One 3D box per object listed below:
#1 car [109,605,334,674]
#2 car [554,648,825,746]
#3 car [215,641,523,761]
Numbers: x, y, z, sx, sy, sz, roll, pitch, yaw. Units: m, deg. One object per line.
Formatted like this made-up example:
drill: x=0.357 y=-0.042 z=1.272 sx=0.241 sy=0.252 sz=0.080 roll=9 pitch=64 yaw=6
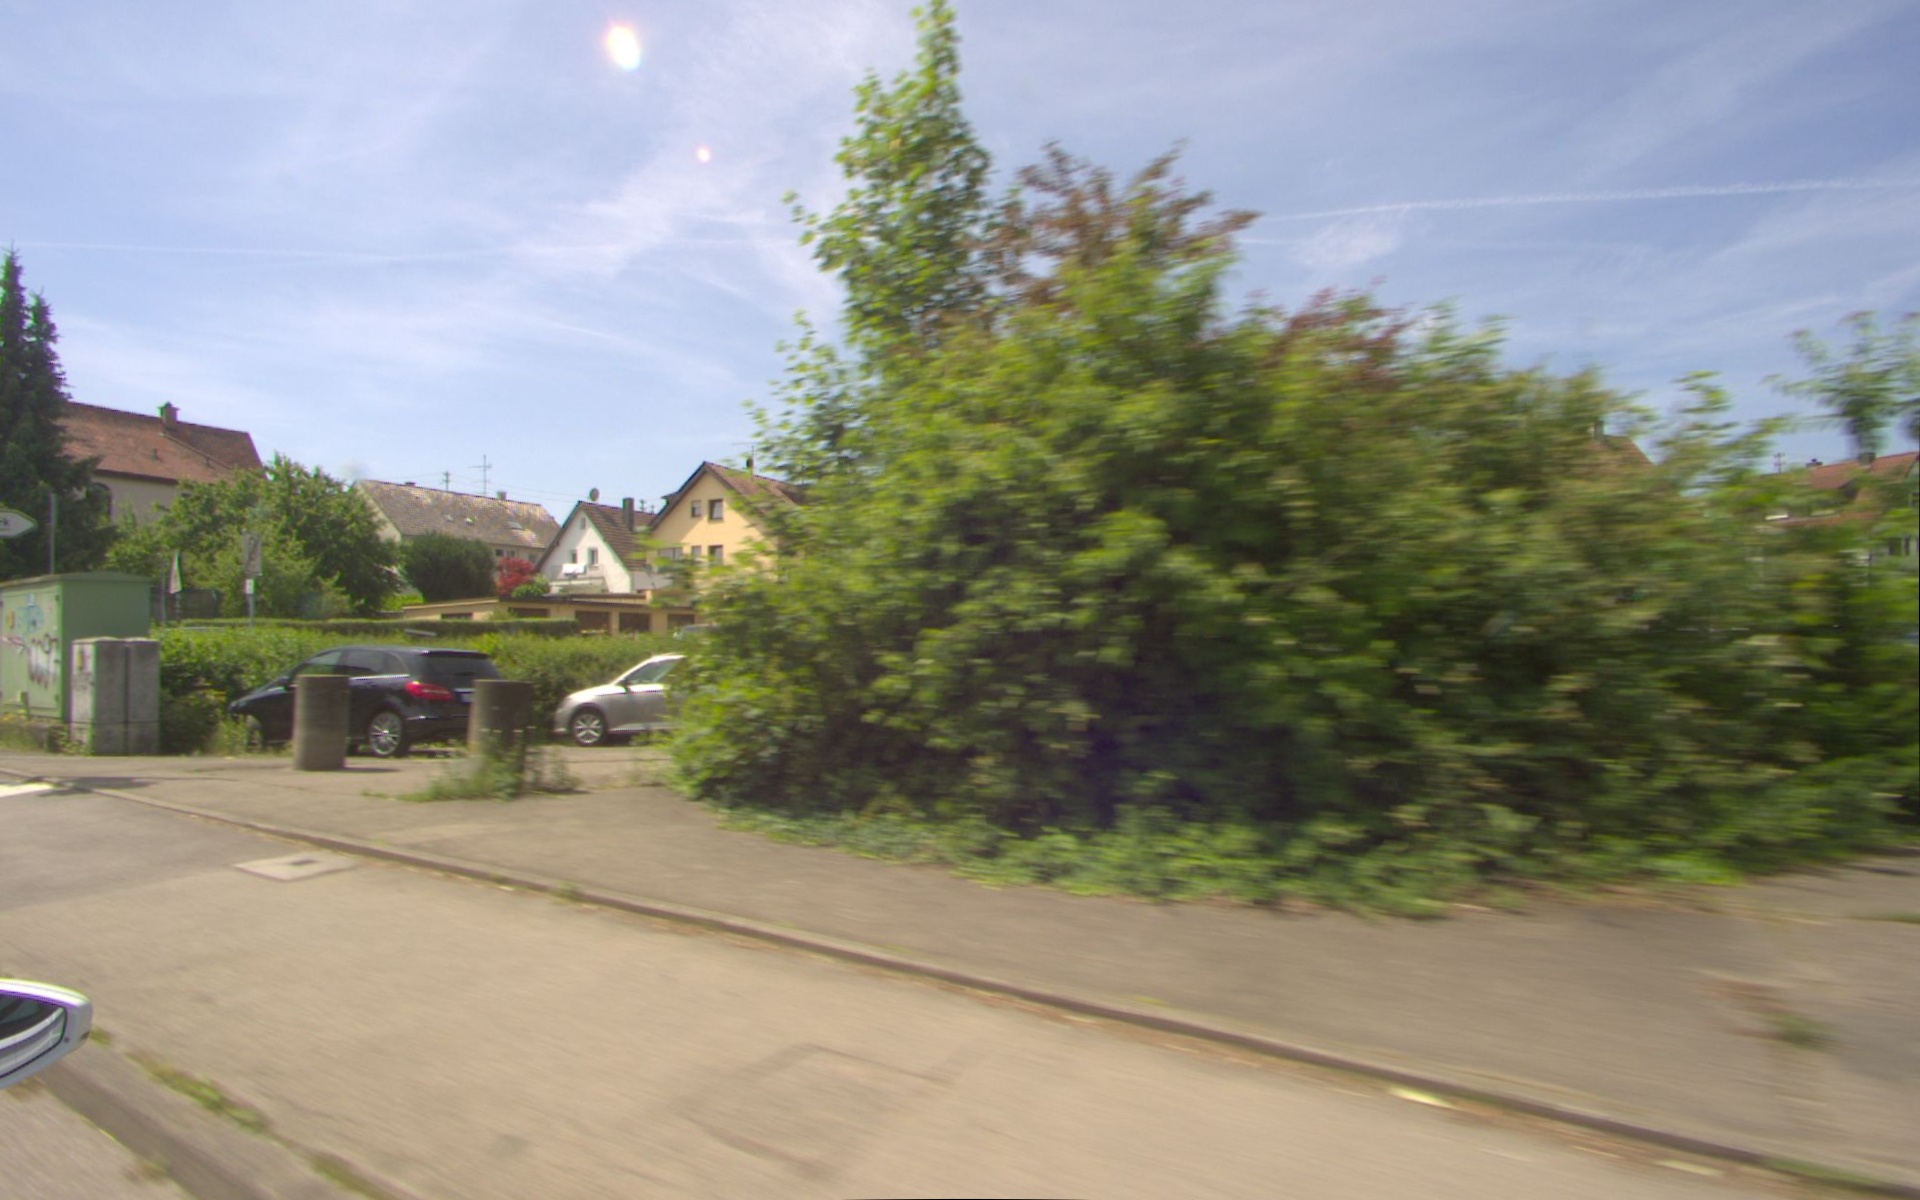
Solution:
car: x=-18.259 y=0.961 z=25.000 sx=1.515 sy=1.561 sz=4.289 roll=1 pitch=-1 yaw=28
car: x=-4.410 y=1.608 z=16.587 sx=4.007 sy=1.484 sz=1.626 roll=-1 pitch=-4 yaw=7
car: x=-8.602 y=1.454 z=14.623 sx=3.994 sy=1.570 sz=1.713 roll=-2 pitch=-4 yaw=20
